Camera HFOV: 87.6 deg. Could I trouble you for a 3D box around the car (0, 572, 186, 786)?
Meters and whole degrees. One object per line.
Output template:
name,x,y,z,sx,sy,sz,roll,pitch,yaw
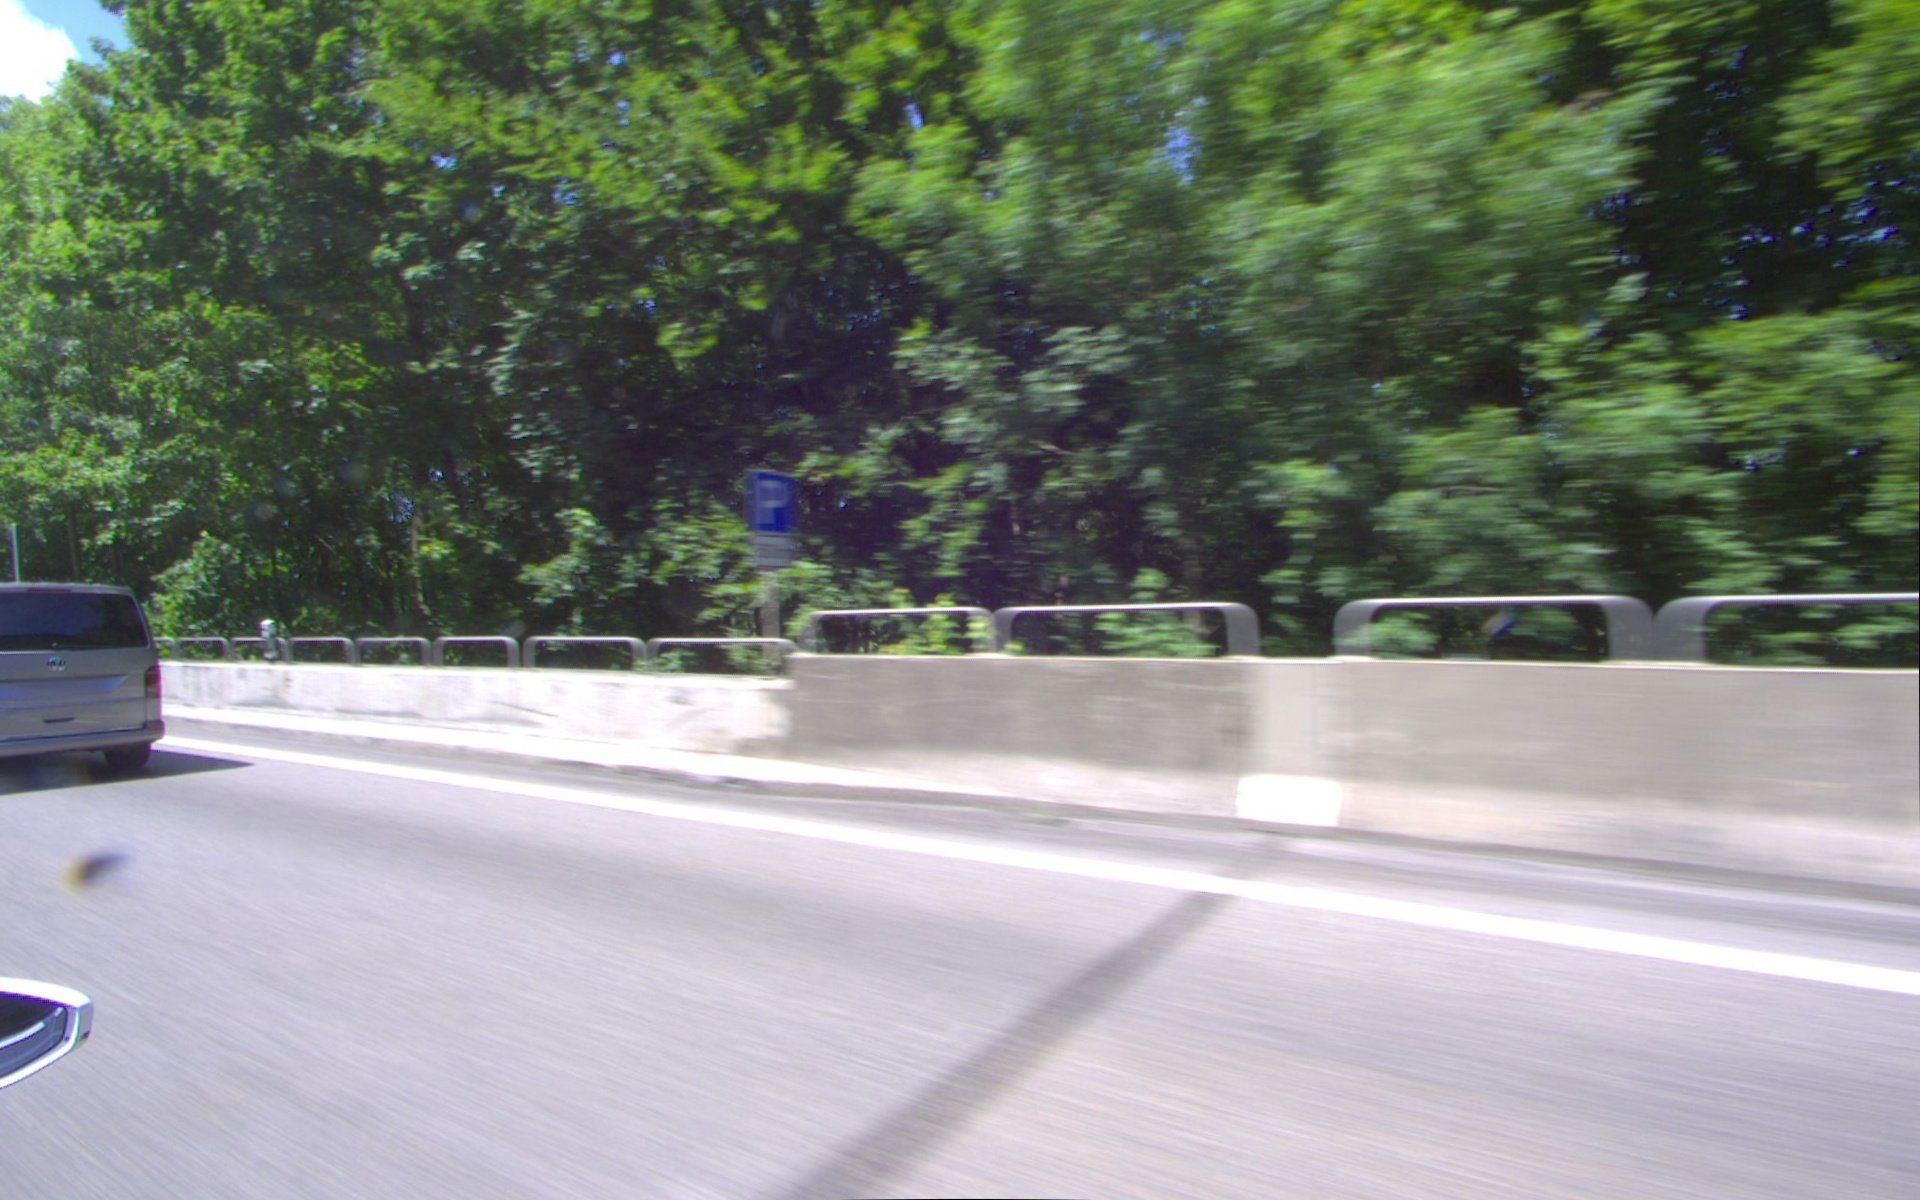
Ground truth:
car,-10.496,0.768,10.810,4.627,1.956,1.937,-1,-1,32
